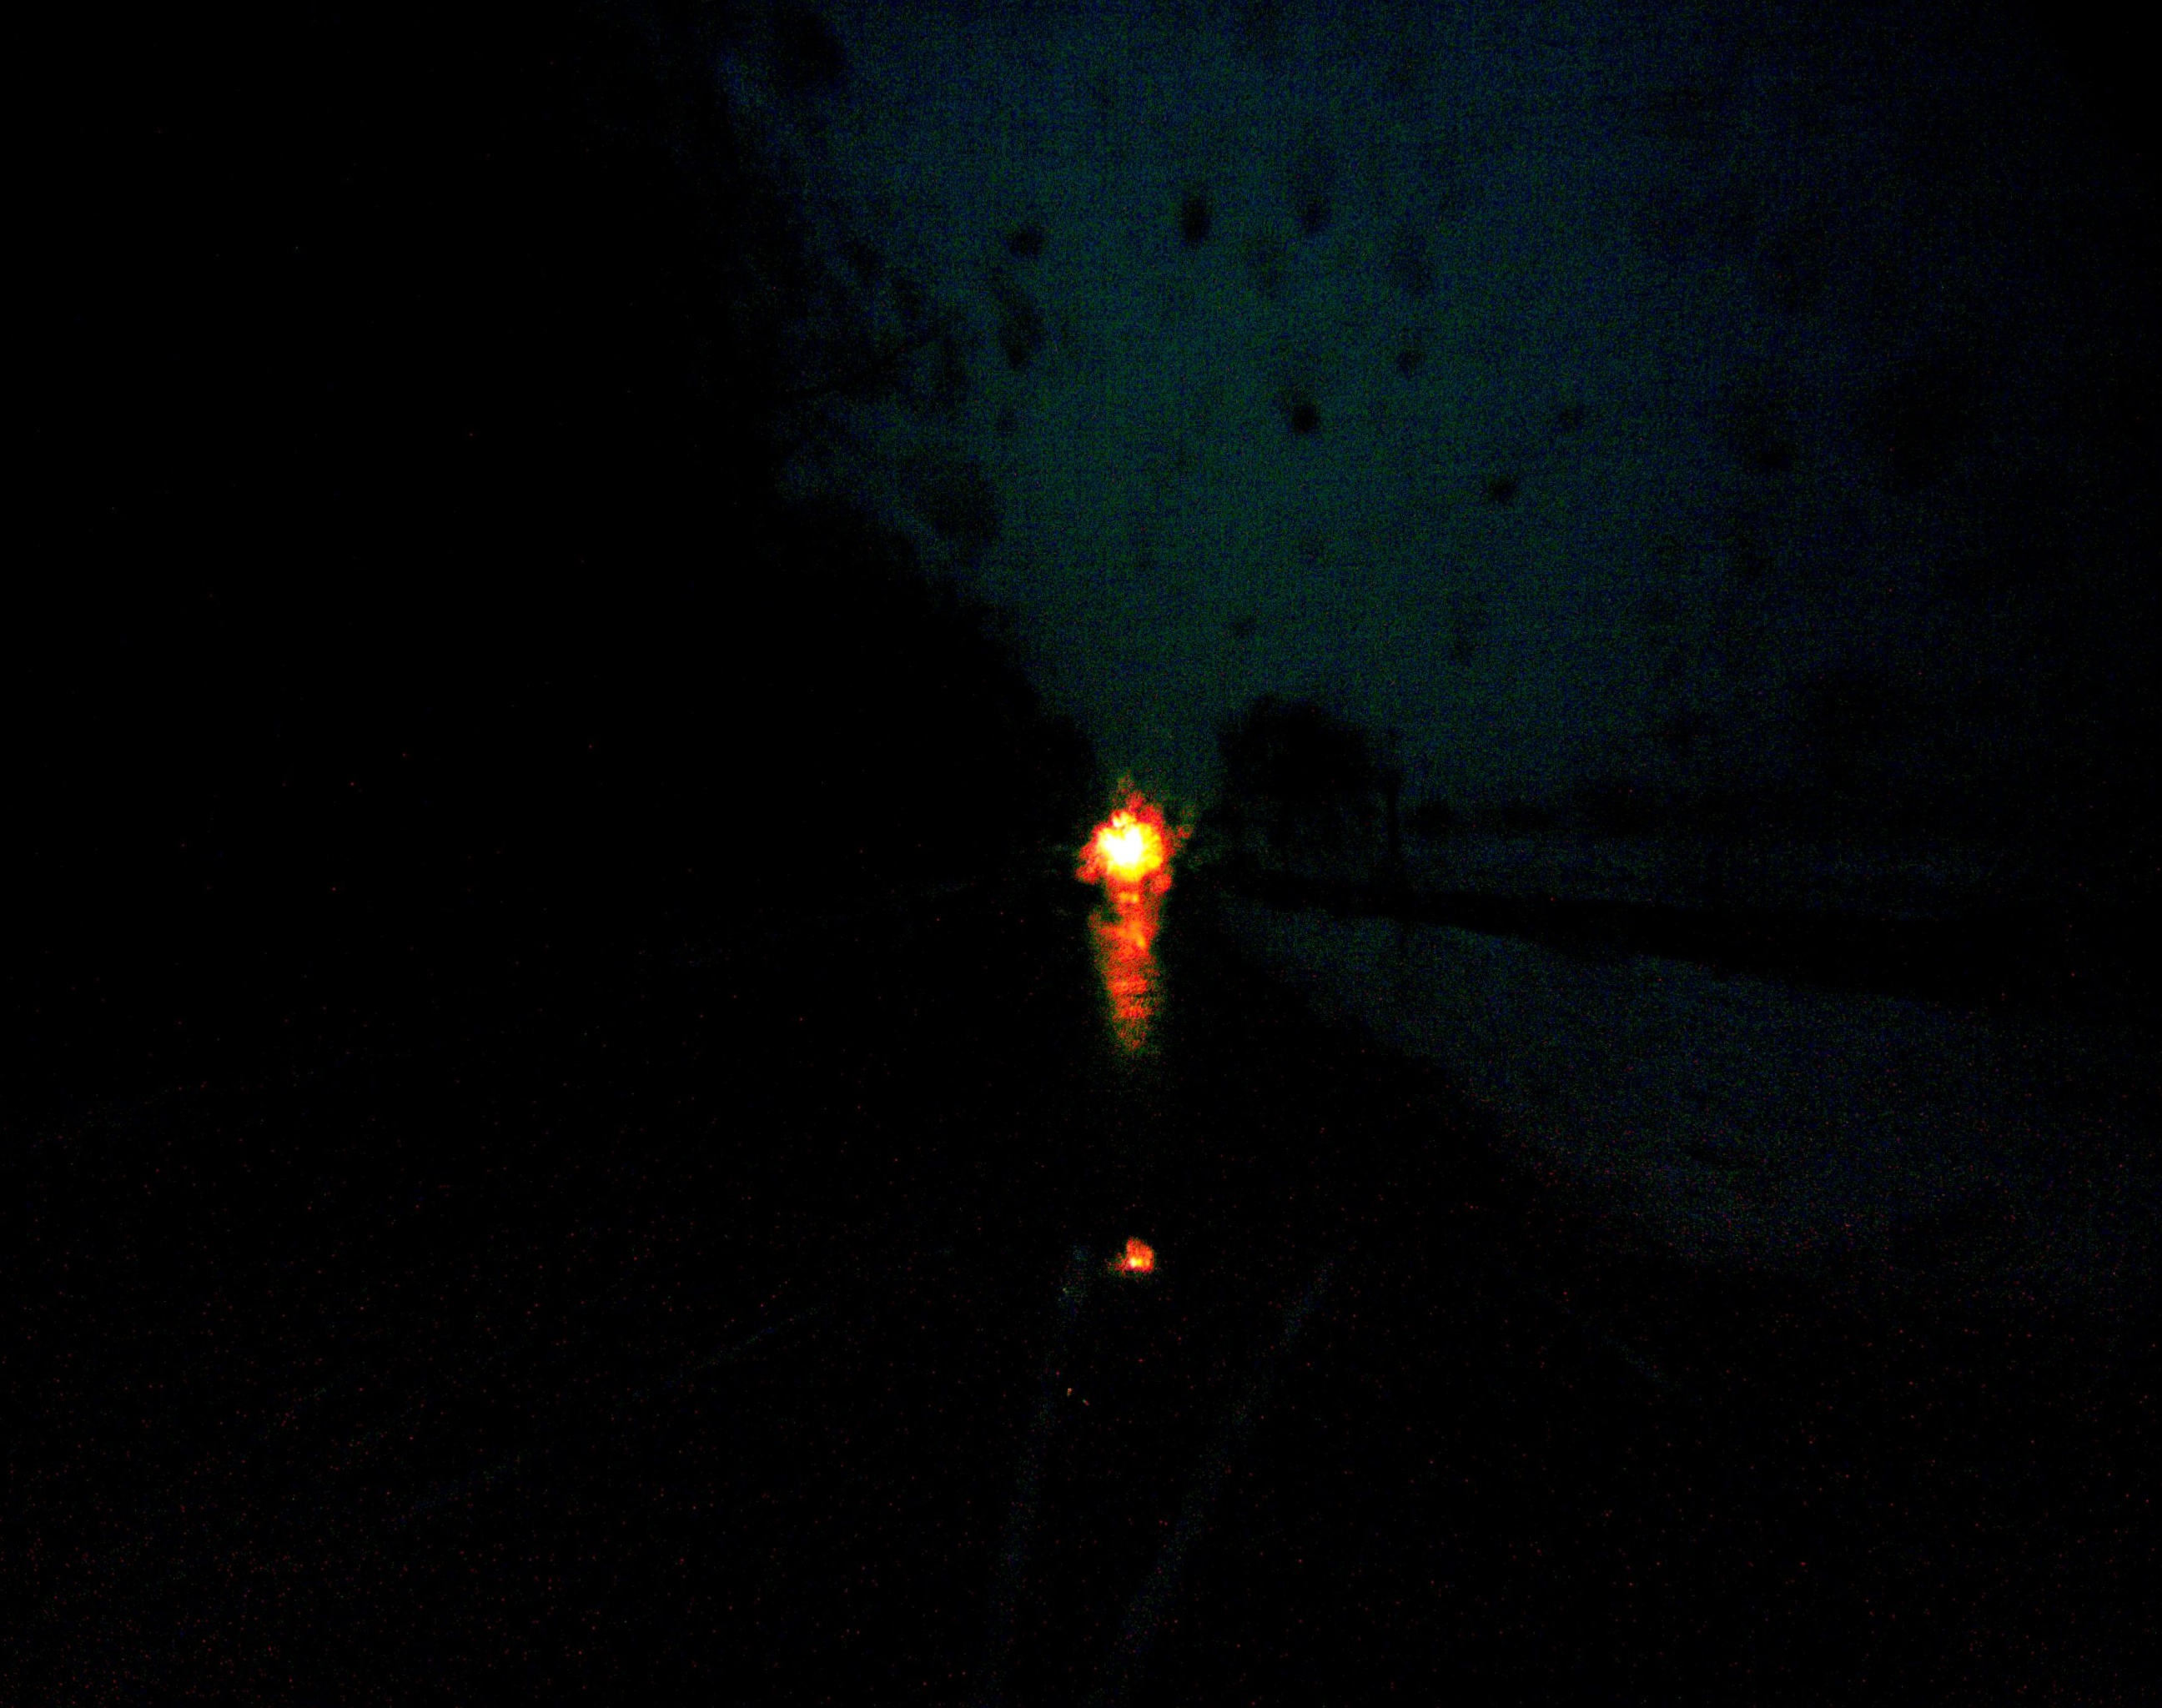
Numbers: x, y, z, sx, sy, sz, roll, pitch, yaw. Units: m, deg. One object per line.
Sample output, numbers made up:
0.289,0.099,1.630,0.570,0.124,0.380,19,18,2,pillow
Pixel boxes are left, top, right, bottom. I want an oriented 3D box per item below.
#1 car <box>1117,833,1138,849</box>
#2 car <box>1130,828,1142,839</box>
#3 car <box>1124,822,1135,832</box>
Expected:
4.360,-1.210,71.046,1.725,1.426,3.676,-2,1,1,car
9.213,-3.396,127.323,1.998,1.797,4.000,-2,2,3,car
9.113,-5.007,142.367,1.998,1.797,4.000,-2,2,3,car
